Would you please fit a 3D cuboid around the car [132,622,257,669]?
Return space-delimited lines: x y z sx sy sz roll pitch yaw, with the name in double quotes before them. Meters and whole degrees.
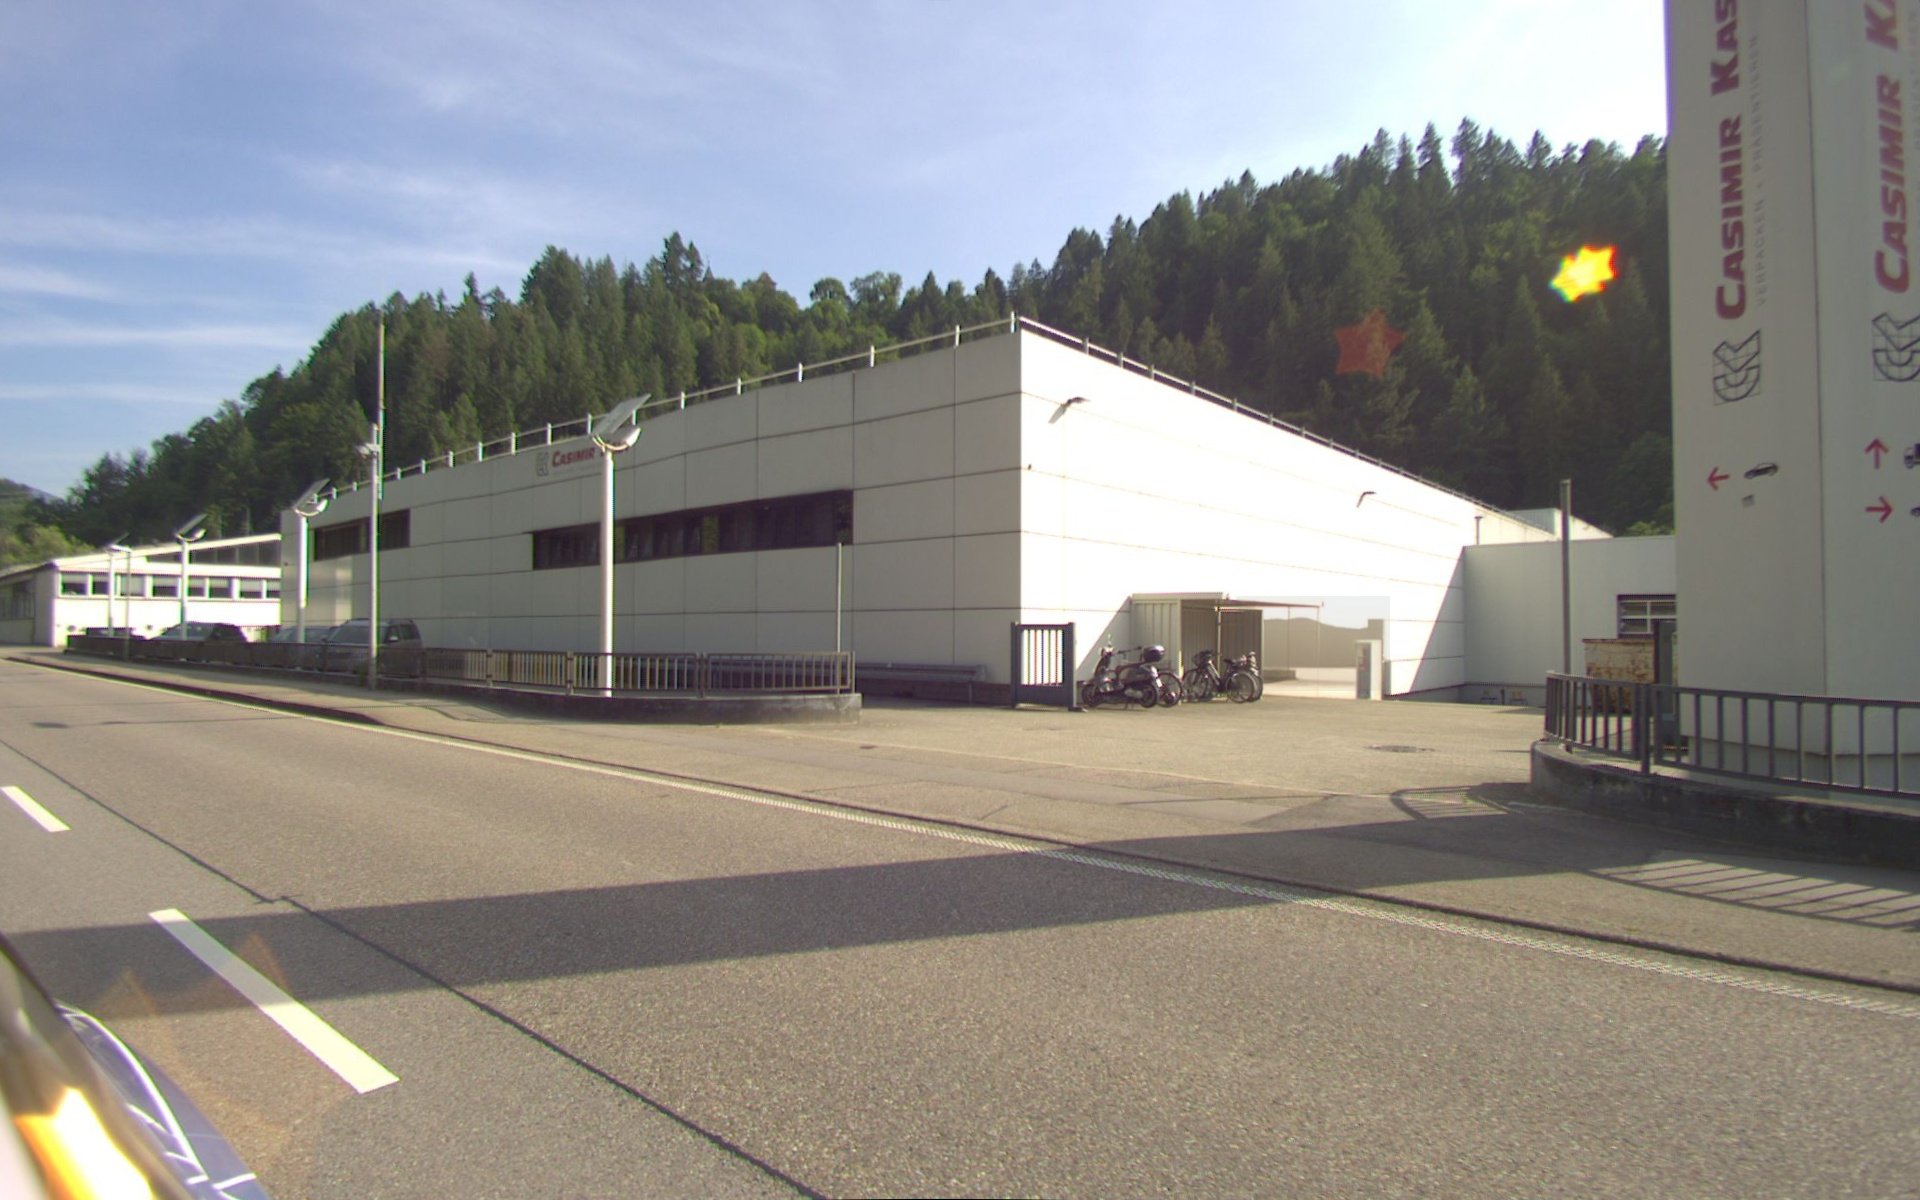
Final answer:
"car" -27.936 1.620 37.105 1.859 1.604 4.182 0 -1 -8

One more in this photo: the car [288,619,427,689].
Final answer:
"car" -16.021 1.365 27.167 1.753 1.721 4.117 0 -1 -8

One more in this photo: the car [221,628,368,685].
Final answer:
"car" -19.496 1.597 29.903 1.859 1.506 4.496 0 -1 -8

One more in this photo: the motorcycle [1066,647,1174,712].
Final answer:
"motorcycle" 3.030 1.495 19.327 2.088 1.161 0.507 -2 -3 41

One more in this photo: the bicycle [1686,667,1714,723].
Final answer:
"bicycle" 14.038 1.780 19.189 0.287 0.985 1.661 -2 -3 41

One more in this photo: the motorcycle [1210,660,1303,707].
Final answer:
"motorcycle" 6.498 1.820 22.260 1.926 0.939 0.509 -1 -3 41

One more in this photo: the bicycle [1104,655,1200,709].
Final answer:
"bicycle" 3.846 1.630 20.397 1.910 0.998 0.507 -1 -3 41

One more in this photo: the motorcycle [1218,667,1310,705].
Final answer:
"motorcycle" 6.817 1.923 22.775 1.977 0.766 0.486 -1 -3 41
